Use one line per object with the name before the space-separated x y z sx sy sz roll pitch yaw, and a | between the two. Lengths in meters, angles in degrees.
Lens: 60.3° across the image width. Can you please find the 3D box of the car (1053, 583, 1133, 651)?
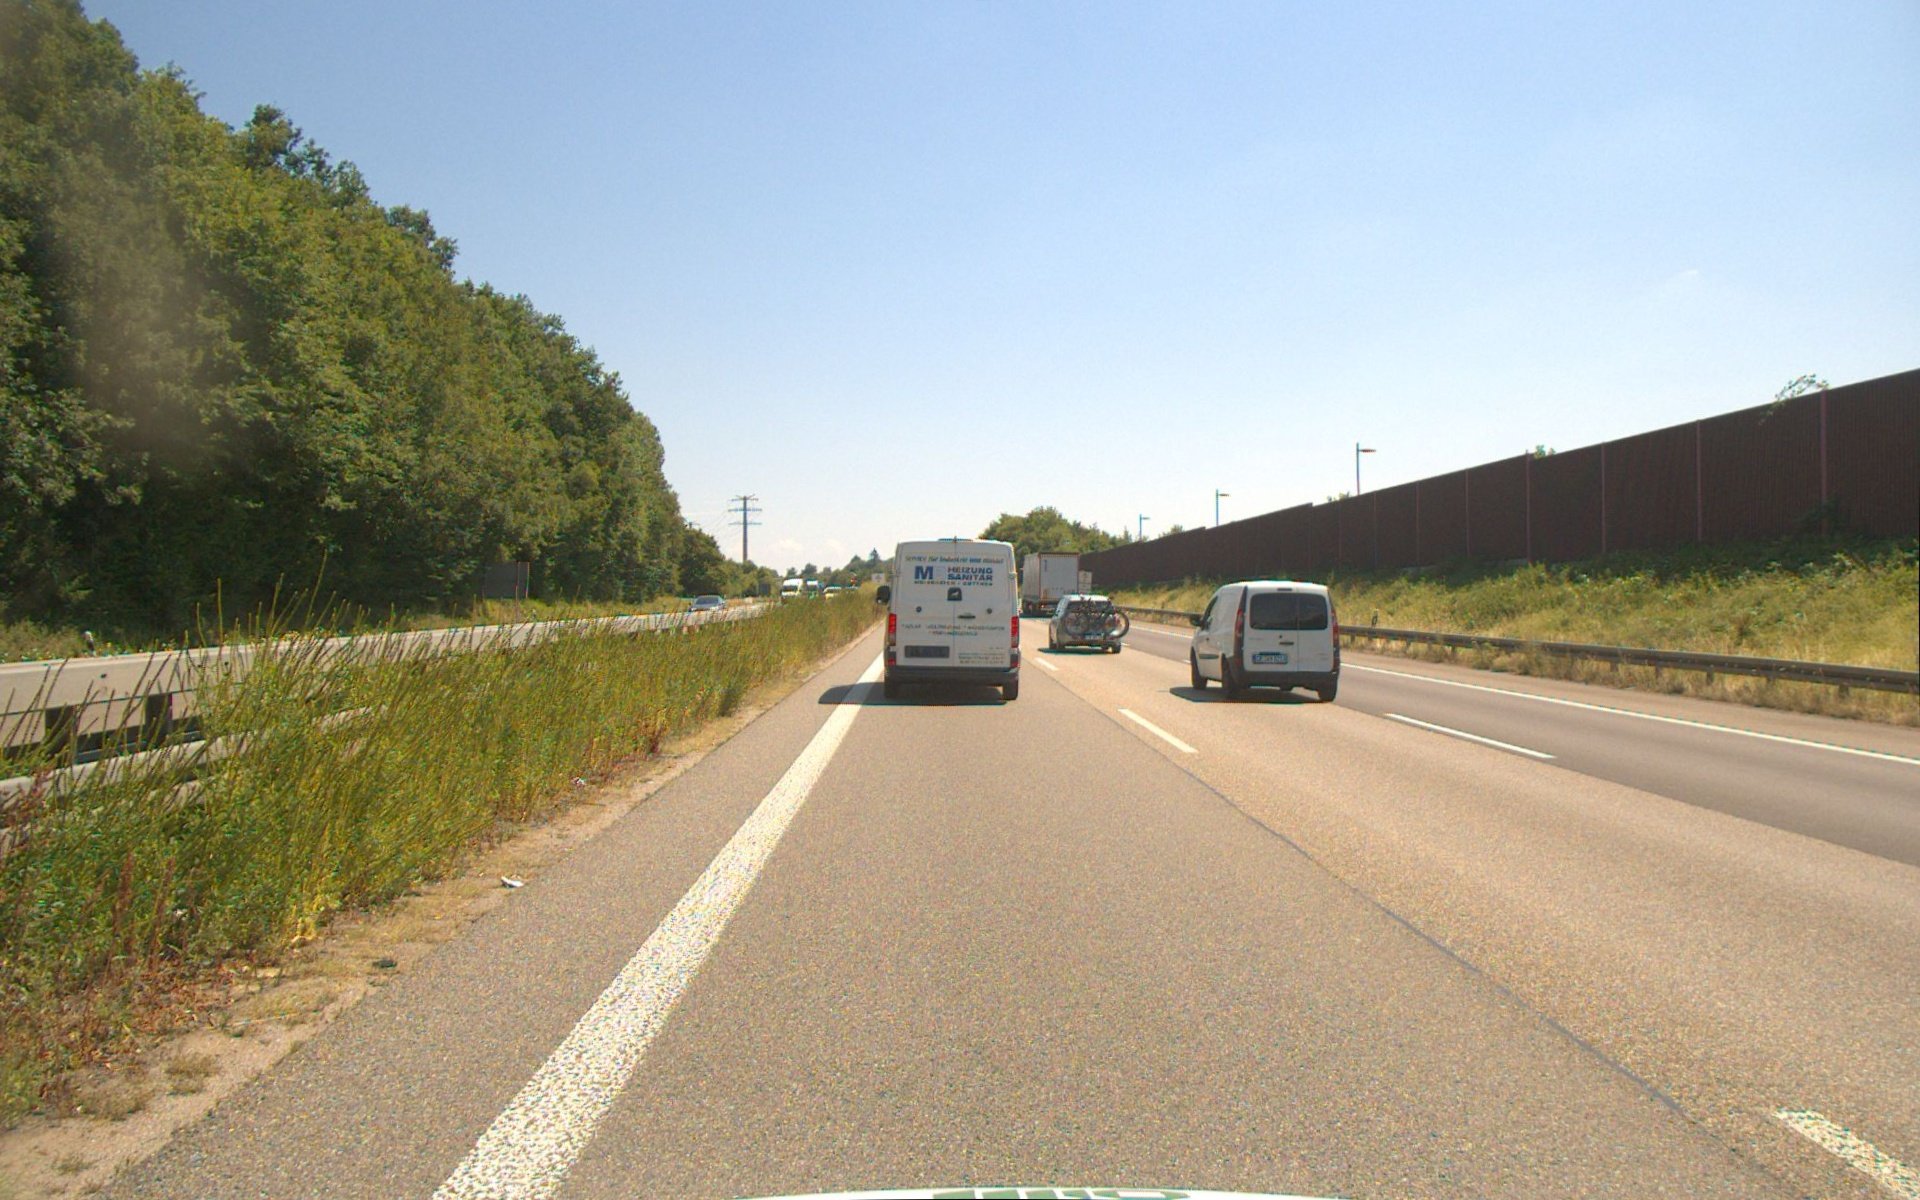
car | 3.605 0.449 45.437 1.935 1.763 4.089 -1 0 1

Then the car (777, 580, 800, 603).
car | -19.107 -0.946 184.507 2.081 2.380 5.084 -2 0 -1

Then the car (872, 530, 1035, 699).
car | -0.220 0.215 25.502 2.139 2.293 5.358 1 0 -4

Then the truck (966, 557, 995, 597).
truck | 2.839 -3.019 225.261 3.710 5.087 12.519 1 0 1

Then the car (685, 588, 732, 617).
car | -14.146 0.117 93.345 1.953 1.545 4.721 -2 0 -1

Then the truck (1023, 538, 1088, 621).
truck | 6.214 -1.203 109.480 3.710 5.087 12.519 1 0 1

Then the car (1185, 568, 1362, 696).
car | 4.926 0.490 26.572 1.911 1.870 4.176 -1 0 -2
